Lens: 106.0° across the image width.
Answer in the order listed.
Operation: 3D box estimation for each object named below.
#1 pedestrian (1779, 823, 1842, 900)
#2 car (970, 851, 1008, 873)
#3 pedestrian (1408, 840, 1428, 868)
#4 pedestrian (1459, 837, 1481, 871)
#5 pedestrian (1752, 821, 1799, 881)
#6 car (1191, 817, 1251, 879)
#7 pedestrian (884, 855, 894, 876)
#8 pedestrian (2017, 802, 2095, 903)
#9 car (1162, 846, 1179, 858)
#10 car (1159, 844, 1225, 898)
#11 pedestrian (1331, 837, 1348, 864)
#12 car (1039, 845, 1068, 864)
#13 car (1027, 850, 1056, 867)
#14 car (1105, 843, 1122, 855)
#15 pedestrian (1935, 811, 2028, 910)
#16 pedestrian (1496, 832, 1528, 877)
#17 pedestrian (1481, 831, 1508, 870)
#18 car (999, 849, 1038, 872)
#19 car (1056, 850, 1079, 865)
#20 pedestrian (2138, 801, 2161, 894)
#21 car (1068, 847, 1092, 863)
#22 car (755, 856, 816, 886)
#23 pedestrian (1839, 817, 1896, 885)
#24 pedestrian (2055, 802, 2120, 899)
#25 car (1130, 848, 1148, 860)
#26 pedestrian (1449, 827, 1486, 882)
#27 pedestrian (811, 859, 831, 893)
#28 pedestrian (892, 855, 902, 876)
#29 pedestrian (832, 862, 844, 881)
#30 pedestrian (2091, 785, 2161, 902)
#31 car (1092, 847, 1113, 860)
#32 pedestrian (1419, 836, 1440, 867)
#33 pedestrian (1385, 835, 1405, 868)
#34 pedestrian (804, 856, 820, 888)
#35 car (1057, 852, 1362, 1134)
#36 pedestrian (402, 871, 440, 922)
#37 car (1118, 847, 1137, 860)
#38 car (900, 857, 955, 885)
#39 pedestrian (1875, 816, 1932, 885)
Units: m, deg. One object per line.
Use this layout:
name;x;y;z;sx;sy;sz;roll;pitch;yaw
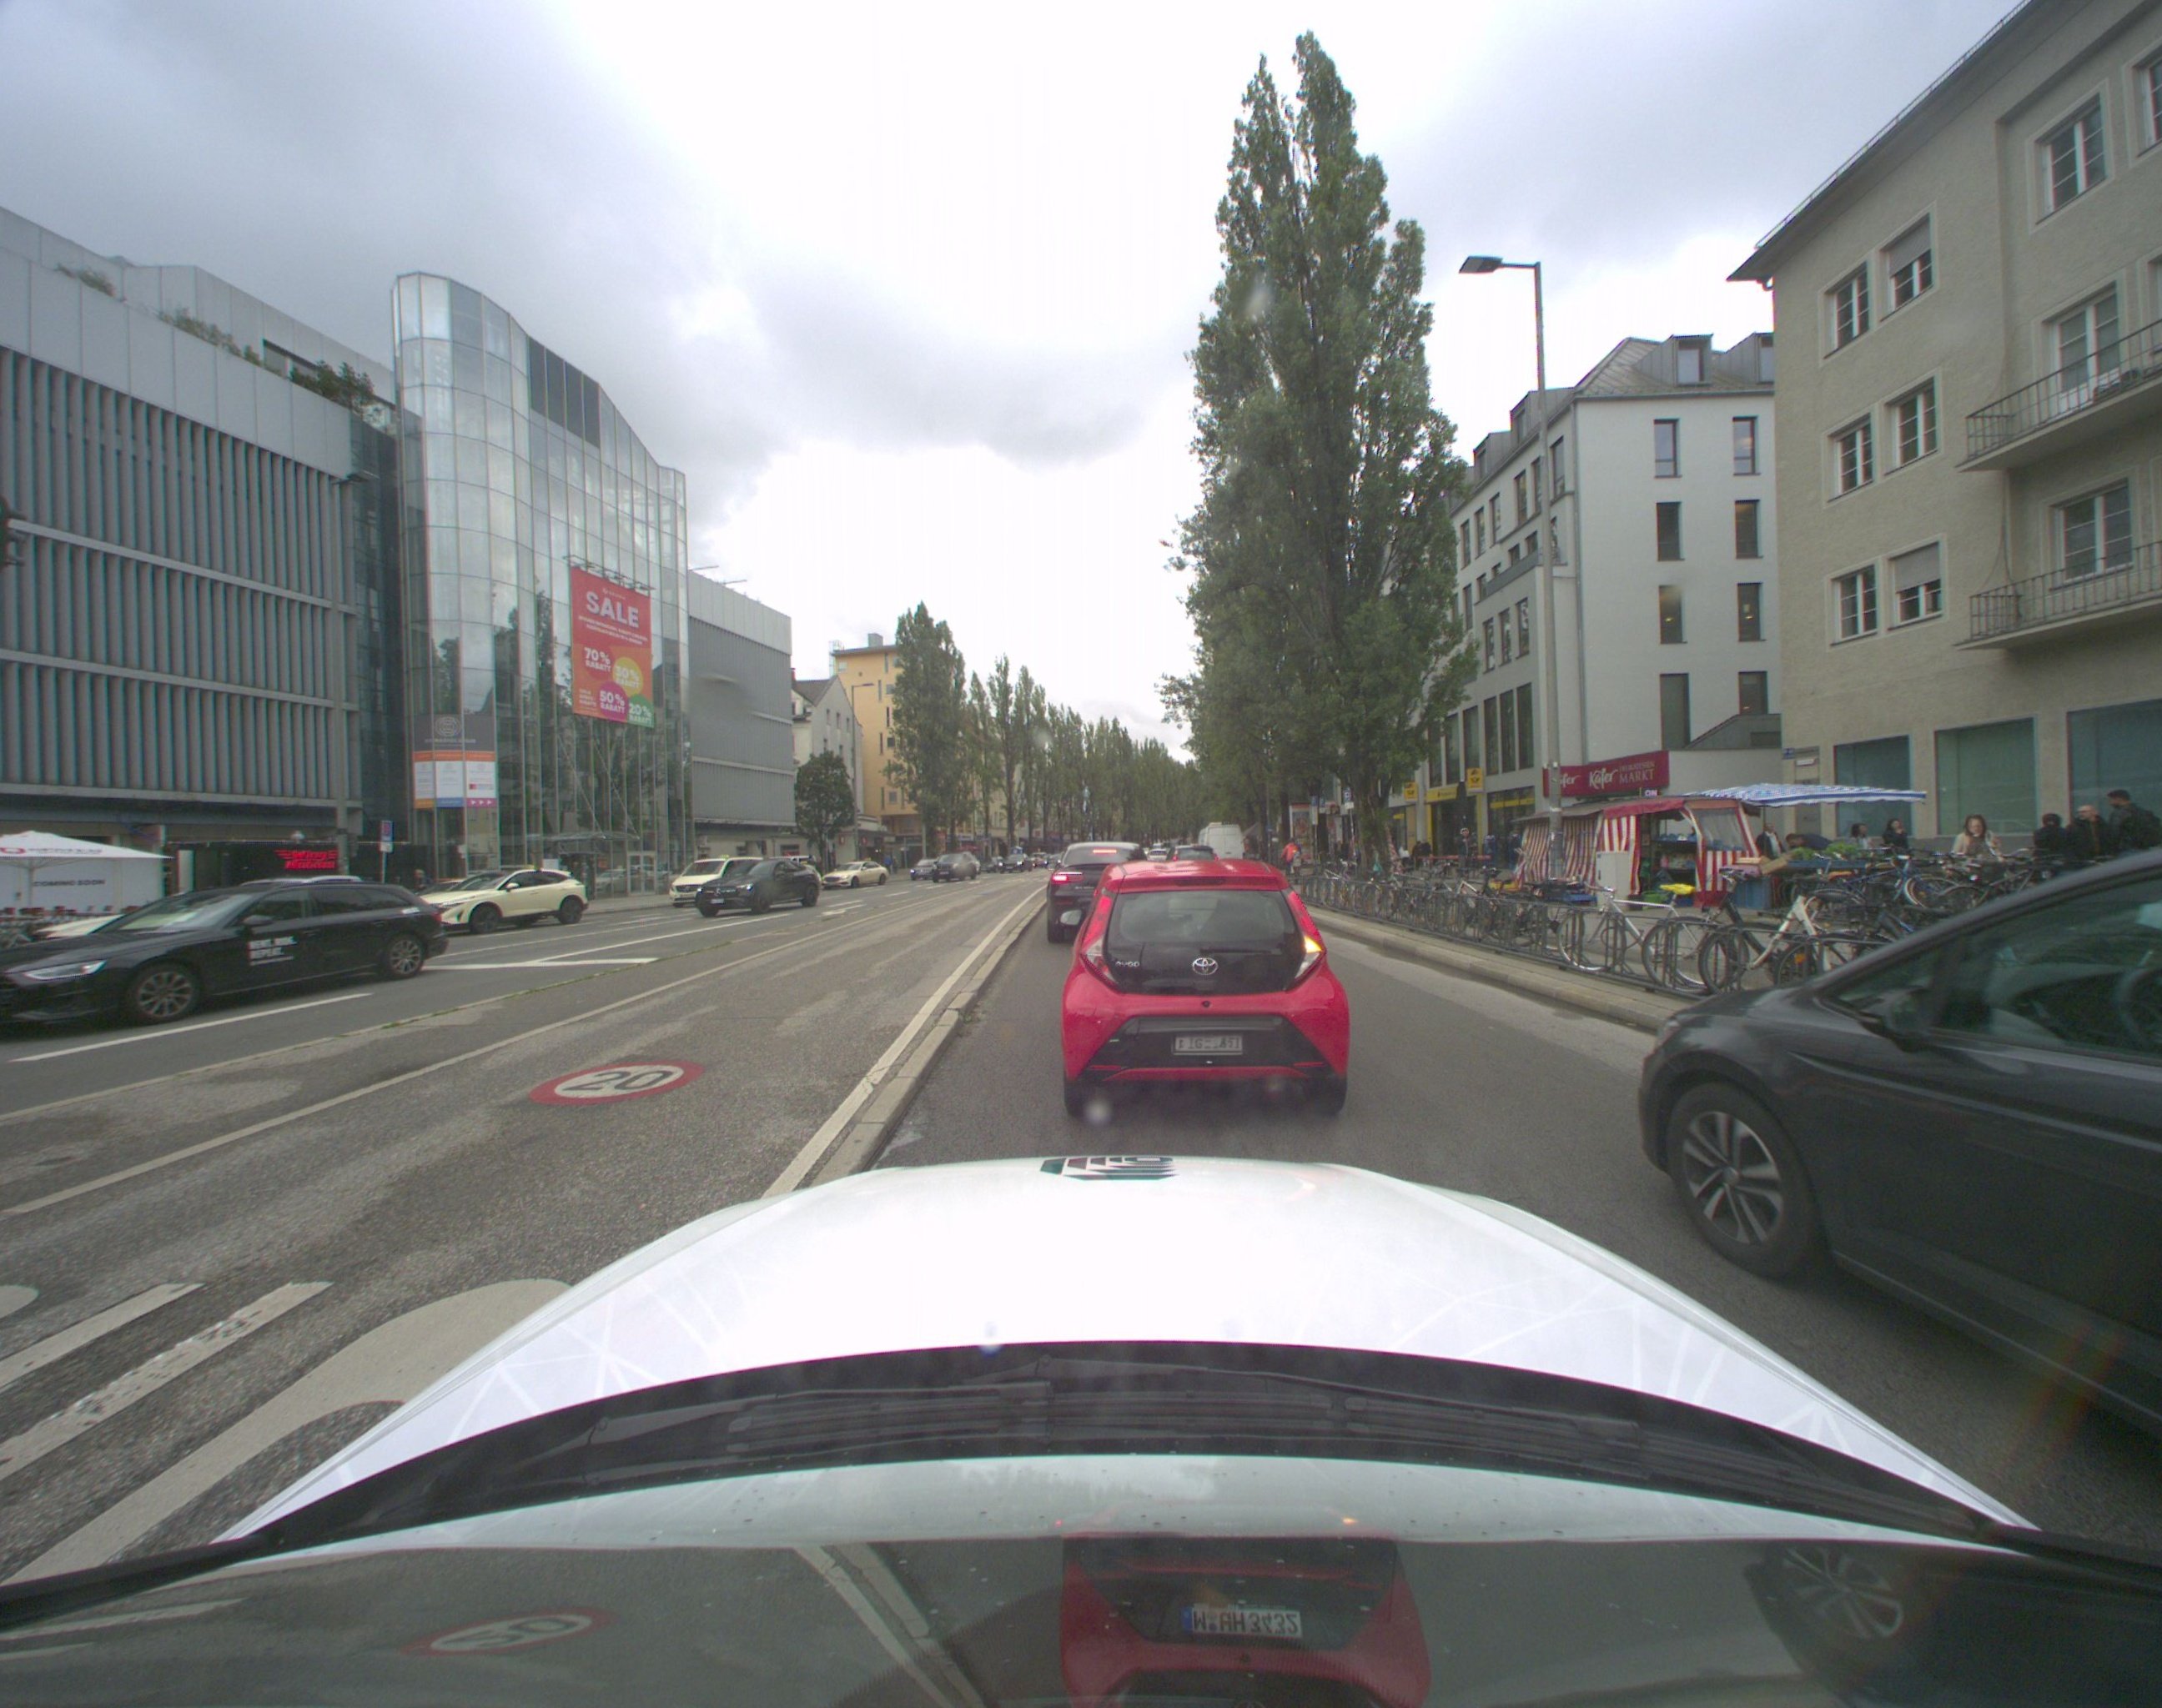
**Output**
pedestrian;14.053;0.144;15.706;0.613;1.425;0.660;-2;0;6
car;-7.805;0.682;69.441;1.982;1.691;4.932;-2;0;8
pedestrian;16.120;-0.004;38.922;0.636;1.306;0.676;-2;0;1
pedestrian;18.454;0.010;38.633;0.710;1.558;0.676;-2;0;1
pedestrian;16.806;-0.076;19.718;0.596;1.402;0.580;-2;0;1
car;6.654;-0.290;39.186;2.099;2.718;4.806;-2;0;2
pedestrian;-18.179;1.068;77.071;0.685;1.997;0.766;-2;0;1
pedestrian;14.857;-0.021;12.427;0.573;1.505;0.620;-2;0;32
car;11.385;-0.268;103.344;1.761;1.439;3.952;-2;0;12
car;3.533;0.515;26.517;1.697;1.589;3.557;-2;0;1
pedestrian;15.595;-0.198;49.074;0.761;1.593;0.676;-2;0;1
car;-2.631;0.055;79.870;1.982;1.691;4.932;-2;0;8
car;-4.217;0.428;87.364;1.981;1.691;4.935;-2;0;10
car;5.442;-0.867;135.957;1.979;1.933;4.430;-2;0;14
pedestrian;14.497;0.103;13.146;0.801;1.522;0.805;-2;0;34
pedestrian;15.687;0.010;29.675;0.730;1.602;0.742;-2;0;1
pedestrian;17.501;-0.135;34.495;0.730;1.602;0.742;-2;0;1
car;-4.899;0.502;64.518;1.982;1.691;4.932;-2;0;8
car;-1.606;0.405;97.971;1.982;1.691;4.932;-2;0;8
pedestrian;19.334;-0.128;14.352;0.639;1.644;0.563;-2;0;1
car;-0.110;0.077;91.007;1.982;1.691;4.932;-2;0;8
car;-19.390;1.059;53.621;1.858;1.772;4.254;-2;0;10
pedestrian;16.601;-0.065;17.205;0.596;1.402;0.580;-2;0;1
pedestrian;15.837;-0.056;12.824;0.501;1.484;0.468;-2;0;36
car;8.900;-0.077;125.600;1.979;1.691;4.430;-2;0;14
pedestrian;12.436;0.013;26.204;0.788;1.727;0.764;-2;0;1
pedestrian;-13.469;1.124;42.187;0.619;1.697;0.698;-2;0;11
pedestrian;-17.468;1.070;77.135;0.685;1.997;0.766;-2;0;1
pedestrian;-17.697;1.276;59.303;0.553;1.290;0.630;-2;0;12
pedestrian;15.529;-0.152;12.009;0.594;1.669;0.690;-2;0;36
car;3.117;-0.087;116.459;1.979;1.691;4.430;-2;0;14
pedestrian;17.608;-0.134;41.137;0.710;1.558;0.676;-2;0;1
pedestrian;15.355;-0.138;39.836;0.710;1.558;0.676;-2;0;1
pedestrian;-15.768;1.055;47.736;0.553;1.817;0.630;-2;0;12
car;0.734;0.735;5.875;1.599;1.461;3.131;-1;0;2
pedestrian;-22.523;1.451;27.799;0.646;1.691;0.714;-2;0;14
car;6.754;-0.053;118.150;1.979;1.691;4.430;-2;0;14
car;-10.152;1.080;54.205;1.980;1.609;4.547;-2;0;11
pedestrian;17.334;-0.069;17.177;0.573;1.402;0.580;-2;0;1
